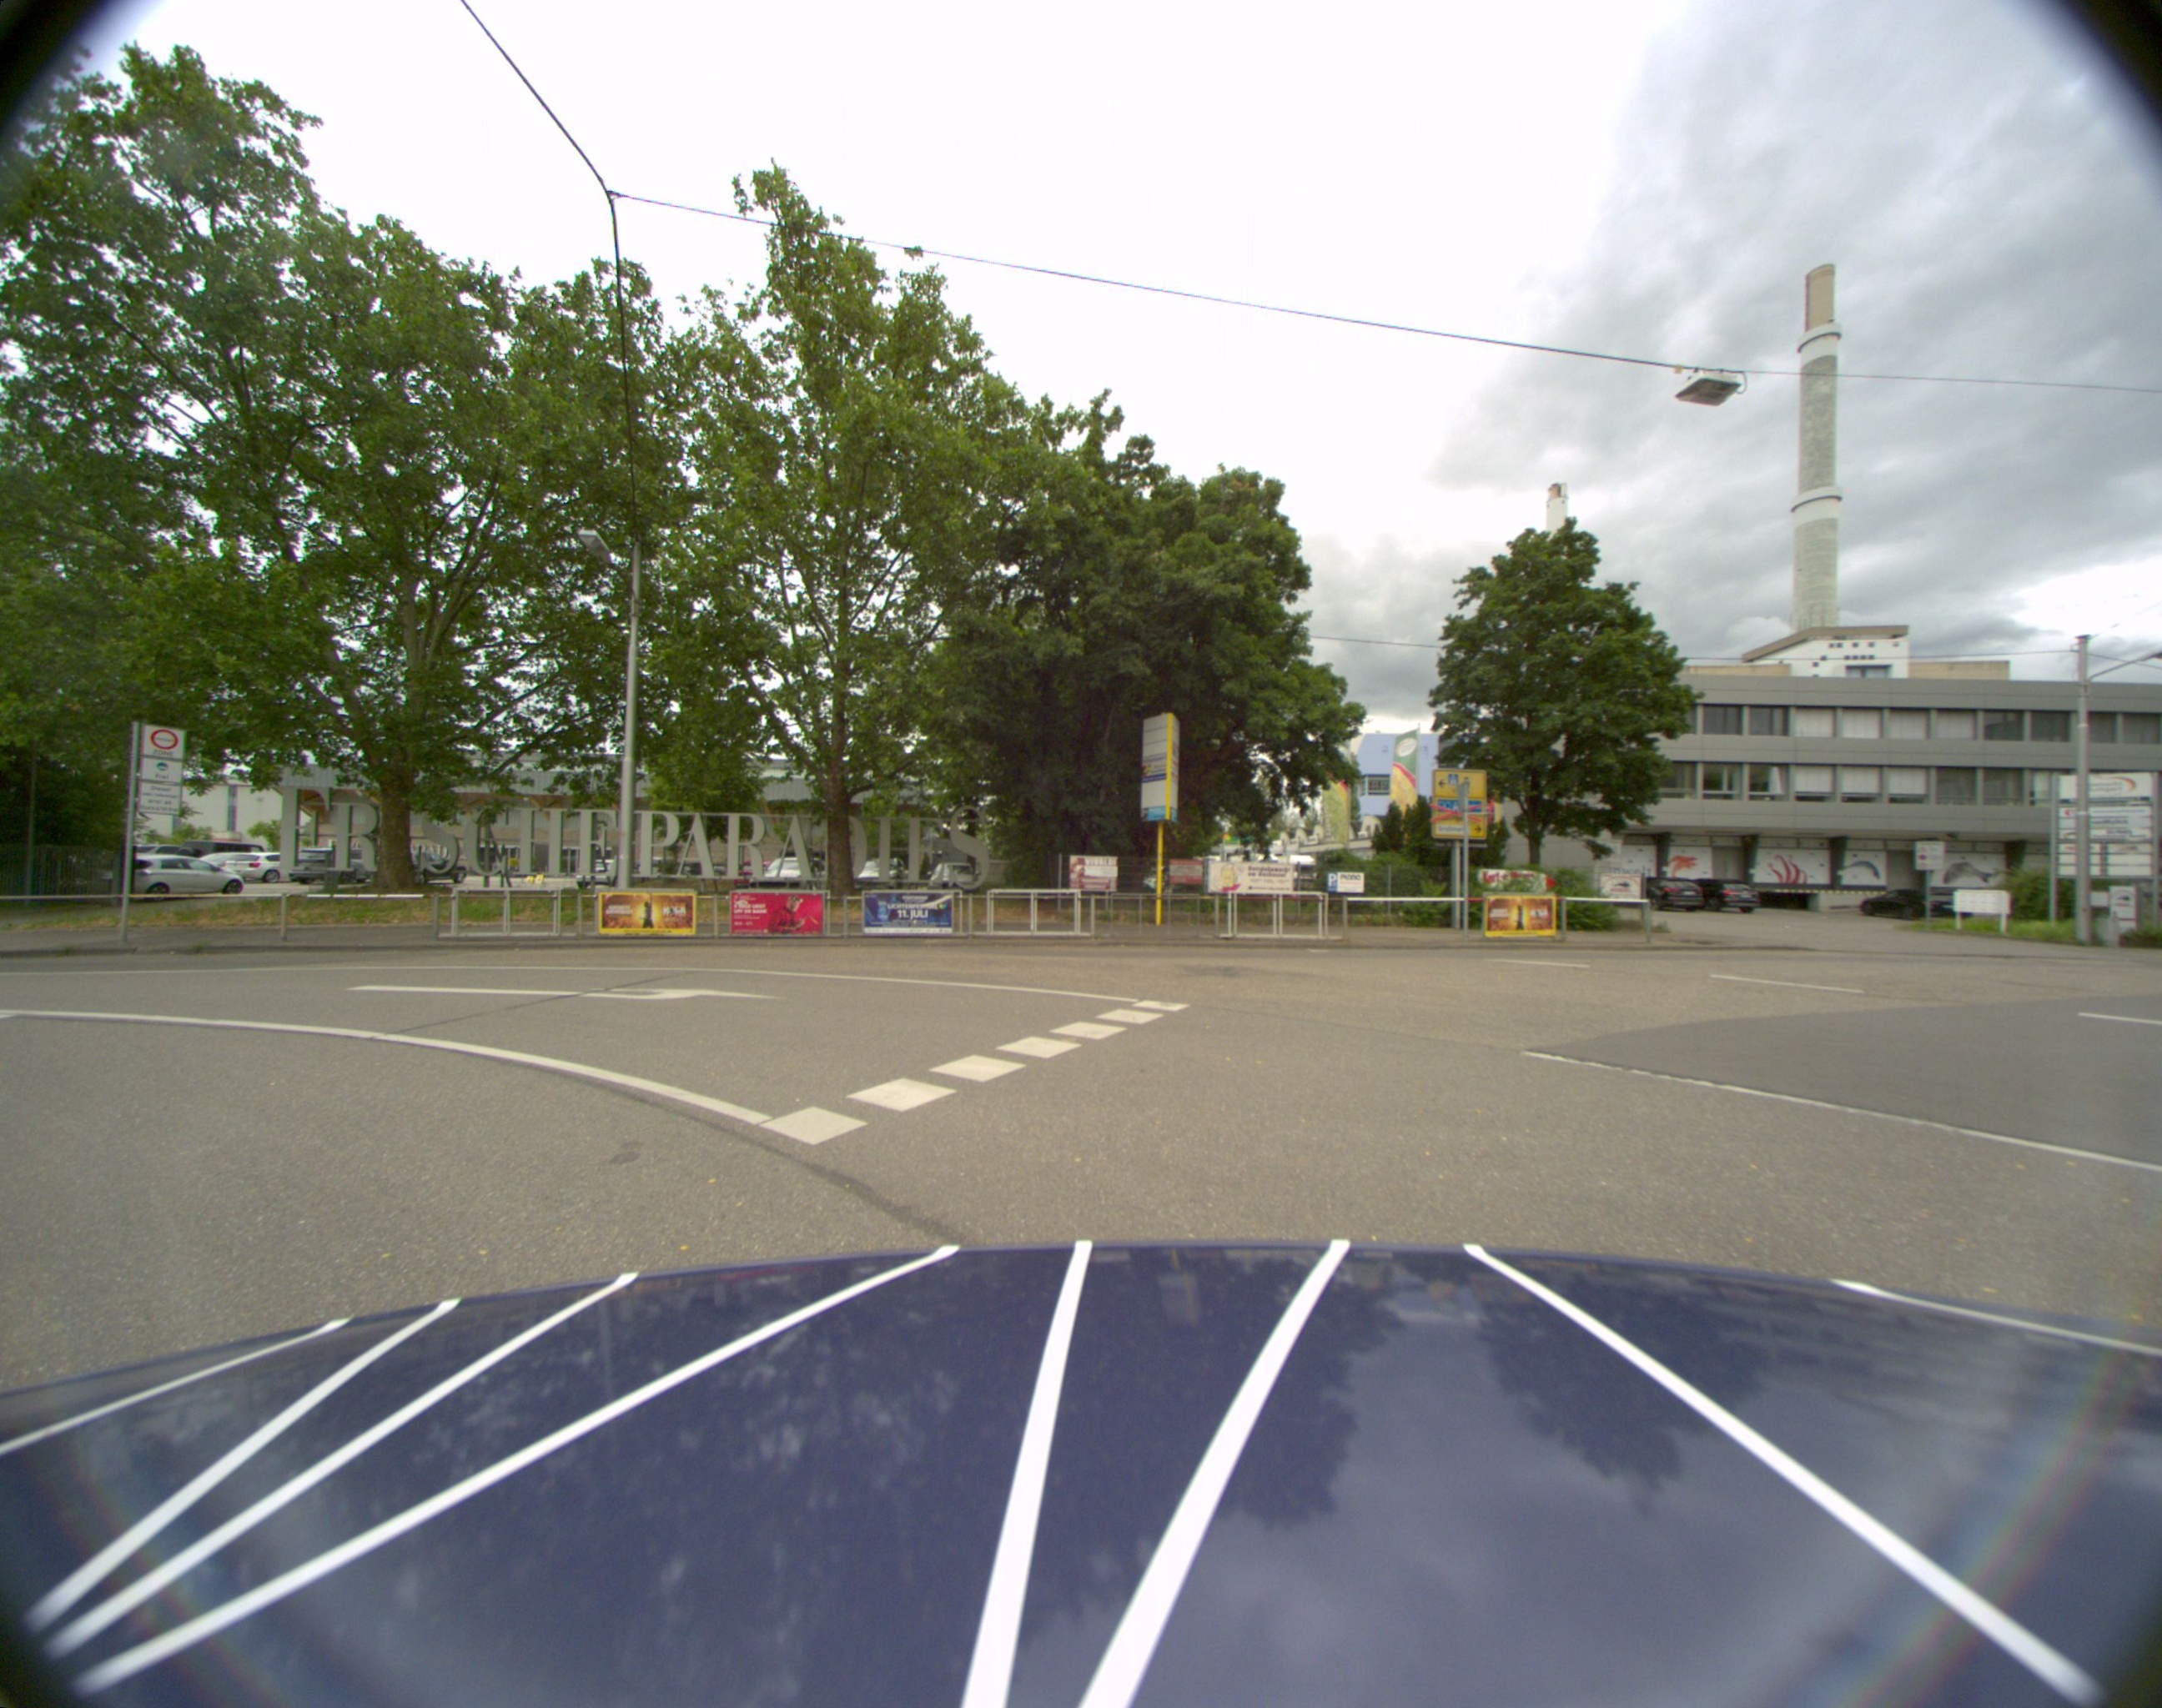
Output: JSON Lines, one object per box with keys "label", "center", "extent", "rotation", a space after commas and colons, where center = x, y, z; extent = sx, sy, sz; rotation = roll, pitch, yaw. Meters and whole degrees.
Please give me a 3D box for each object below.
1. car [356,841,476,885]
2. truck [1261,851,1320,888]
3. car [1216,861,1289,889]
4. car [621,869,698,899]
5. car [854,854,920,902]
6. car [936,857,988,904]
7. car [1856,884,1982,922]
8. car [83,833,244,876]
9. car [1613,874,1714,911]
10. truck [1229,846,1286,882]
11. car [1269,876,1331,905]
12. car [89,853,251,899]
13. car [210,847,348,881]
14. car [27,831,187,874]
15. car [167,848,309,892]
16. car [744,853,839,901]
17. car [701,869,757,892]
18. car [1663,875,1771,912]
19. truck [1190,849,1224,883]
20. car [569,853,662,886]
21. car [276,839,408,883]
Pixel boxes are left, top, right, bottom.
{"label": "car", "center": [-32.551, 0.474, 37.402], "extent": [1.999, 2.001, 4.640], "rotation": [1, -1, -4]}
{"label": "truck", "center": [25.089, 1.903, 92.099], "extent": [2.870, 4.000, 15.855], "rotation": [2, -1, 1]}
{"label": "car", "center": [18.042, 2.170, 80.205], "extent": [7.148, 2.716, 2.244], "rotation": [2, -1, 1]}
{"label": "car", "center": [-23.735, 1.652, 42.985], "extent": [1.999, 1.552, 4.640], "rotation": [1, -1, -4]}
{"label": "car", "center": [-7.042, 0.899, 27.994], "extent": [1.591, 1.603, 4.317], "rotation": [1, -2, -4]}
{"label": "car", "center": [-4.343, 0.991, 28.194], "extent": [1.591, 1.603, 4.000], "rotation": [1, -2, -4]}
{"label": "car", "center": [40.469, 2.305, 36.908], "extent": [2.046, 1.437, 4.836], "rotation": [1, 1, 20]}
{"label": "car", "center": [-45.620, 0.080, 38.001], "extent": [1.999, 1.986, 5.101], "rotation": [1, -1, -4]}
{"label": "car", "center": [29.638, 1.910, 38.868], "extent": [1.837, 1.608, 4.466], "rotation": [2, 0, 3]}
{"label": "truck", "center": [21.018, 1.307, 91.763], "extent": [2.850, 3.909, 15.731], "rotation": [2, -1, -1]}
{"label": "car", "center": [10.239, 1.677, 35.821], "extent": [1.709, 1.241, 3.701], "rotation": [2, -1, -2]}
{"label": "car", "center": [-32.066, 0.780, 26.912], "extent": [1.481, 1.495, 3.729], "rotation": [1, -1, -7]}
{"label": "car", "center": [-39.058, 0.513, 37.220], "extent": [1.999, 1.549, 4.640], "rotation": [1, -1, -4]}
{"label": "car", "center": [-48.916, -0.012, 38.361], "extent": [1.999, 2.001, 4.823], "rotation": [1, -1, -4]}
{"label": "car", "center": [-41.797, 0.809, 37.868], "extent": [1.999, 2.001, 4.640], "rotation": [1, -1, -4]}
{"label": "car", "center": [-10.532, 0.868, 28.004], "extent": [1.883, 1.603, 4.526], "rotation": [1, -2, -2]}
{"label": "car", "center": [-24.851, 1.849, 53.789], "extent": [1.999, 1.552, 4.640], "rotation": [1, -1, -4]}
{"label": "car", "center": [32.377, 1.969, 38.879], "extent": [1.837, 1.608, 4.424], "rotation": [2, 0, 2]}
{"label": "truck", "center": [16.660, 1.606, 100.821], "extent": [2.997, 4.140, 9.190], "rotation": [1, -1, 0]}
{"label": "car", "center": [-23.206, 0.793, 38.145], "extent": [1.999, 1.552, 4.640], "rotation": [1, -1, -4]}
{"label": "car", "center": [-35.686, 0.377, 36.904], "extent": [1.999, 2.001, 4.640], "rotation": [1, -1, -4]}
